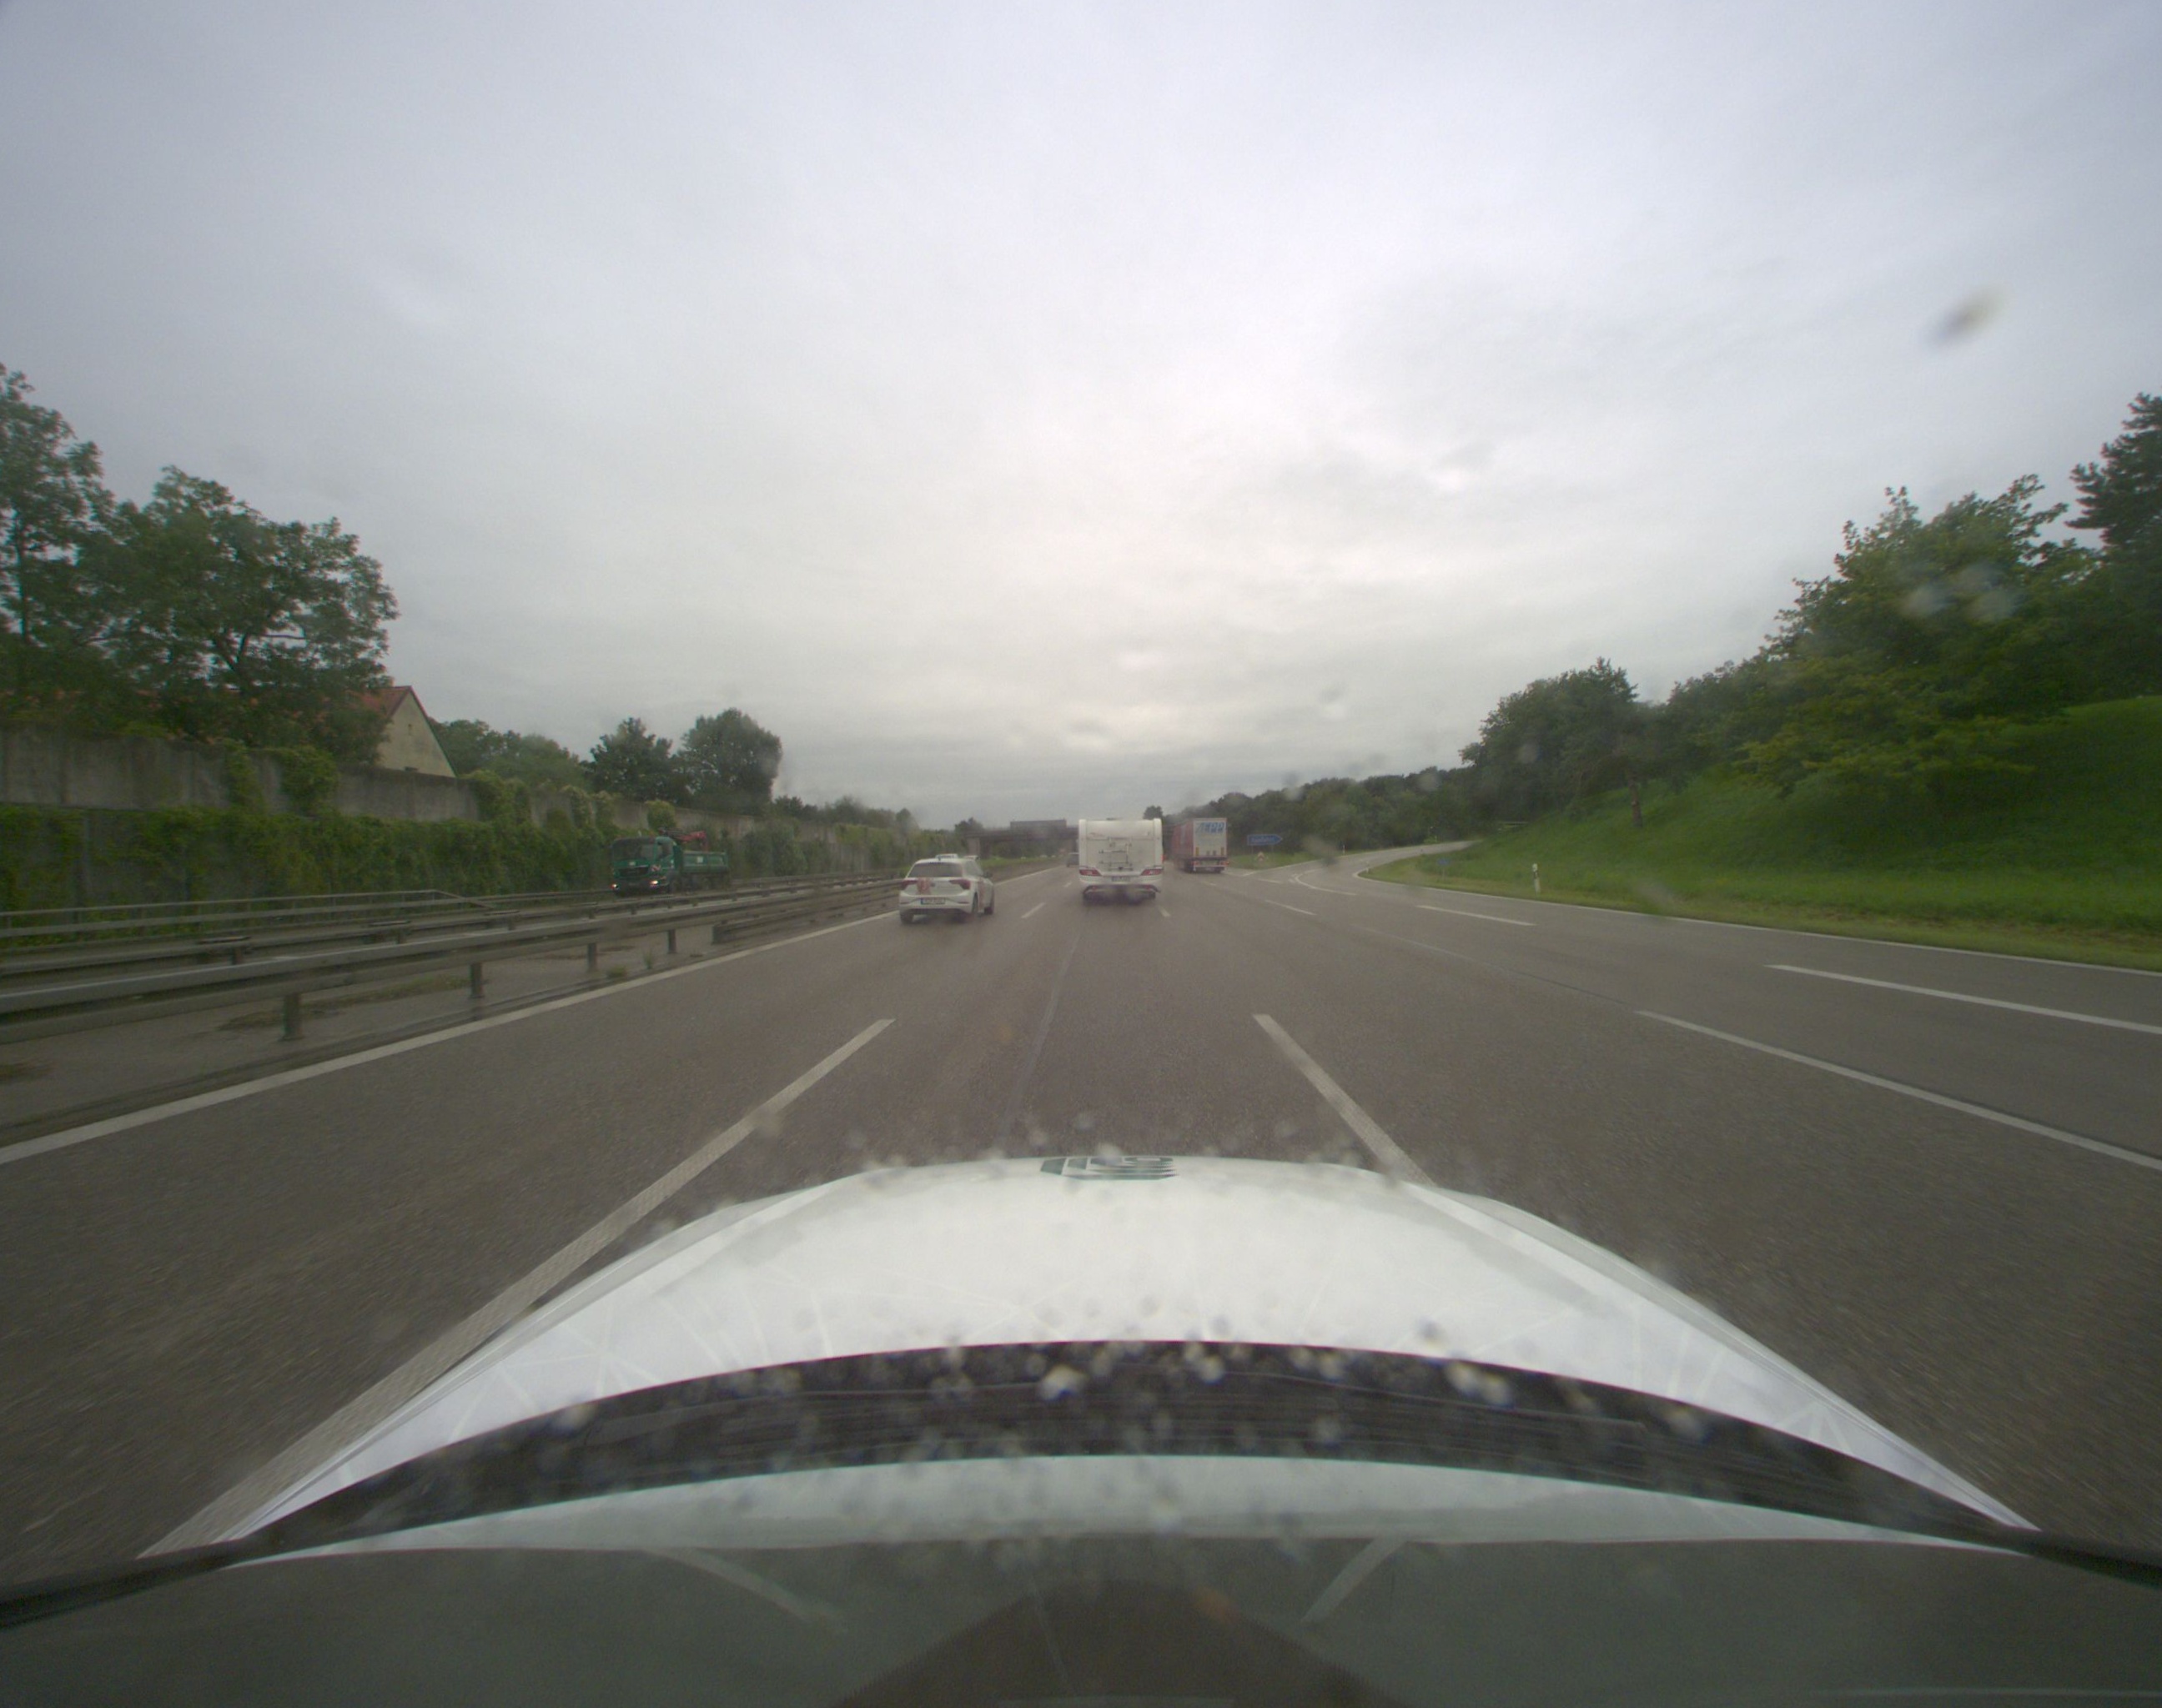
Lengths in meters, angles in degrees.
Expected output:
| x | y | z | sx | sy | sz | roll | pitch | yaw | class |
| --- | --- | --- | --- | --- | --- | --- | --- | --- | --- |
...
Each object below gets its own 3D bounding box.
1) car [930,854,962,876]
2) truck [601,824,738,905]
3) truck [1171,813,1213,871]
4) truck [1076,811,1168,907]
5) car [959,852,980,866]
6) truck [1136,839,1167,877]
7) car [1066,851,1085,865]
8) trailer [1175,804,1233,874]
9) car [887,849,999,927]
| x | y | z | sx | sy | sz | roll | pitch | yaw | class |
| --- | --- | --- | --- | --- | --- | --- | --- | --- | --- |
| -12.887 | 1.007 | 78.045 | 2.073 | 2.013 | 5.196 | -1 | 0 | 1 | car |
| -20.933 | 0.516 | 42.119 | 2.682 | 3.777 | 8.338 | 0 | 0 | 1 | truck |
| 9.643 | -1.024 | 71.144 | 3.036 | 4.839 | 5.853 | 0 | 0 | 2 | truck |
| 1.245 | 0.150 | 25.967 | 2.651 | 2.742 | 5.079 | 0 | 0 | 1 | truck |
| -15.453 | 0.694 | 113.173 | 1.986 | 2.014 | 5.228 | 0 | 0 | 1 | car |
| 5.301 | 0.321 | 61.740 | 2.046 | 2.770 | 5.550 | 0 | 0 | 1 | truck |
| -0.593 | 0.477 | 94.673 | 1.986 | 1.600 | 5.126 | 0 | 0 | 2 | car |
| 9.369 | -1.018 | 63.453 | 3.088 | 4.922 | 11.795 | 0 | 0 | 2 | trailer |
| -3.177 | 0.727 | 19.703 | 1.746 | 1.618 | 4.666 | -1 | 0 | 2 | car |
